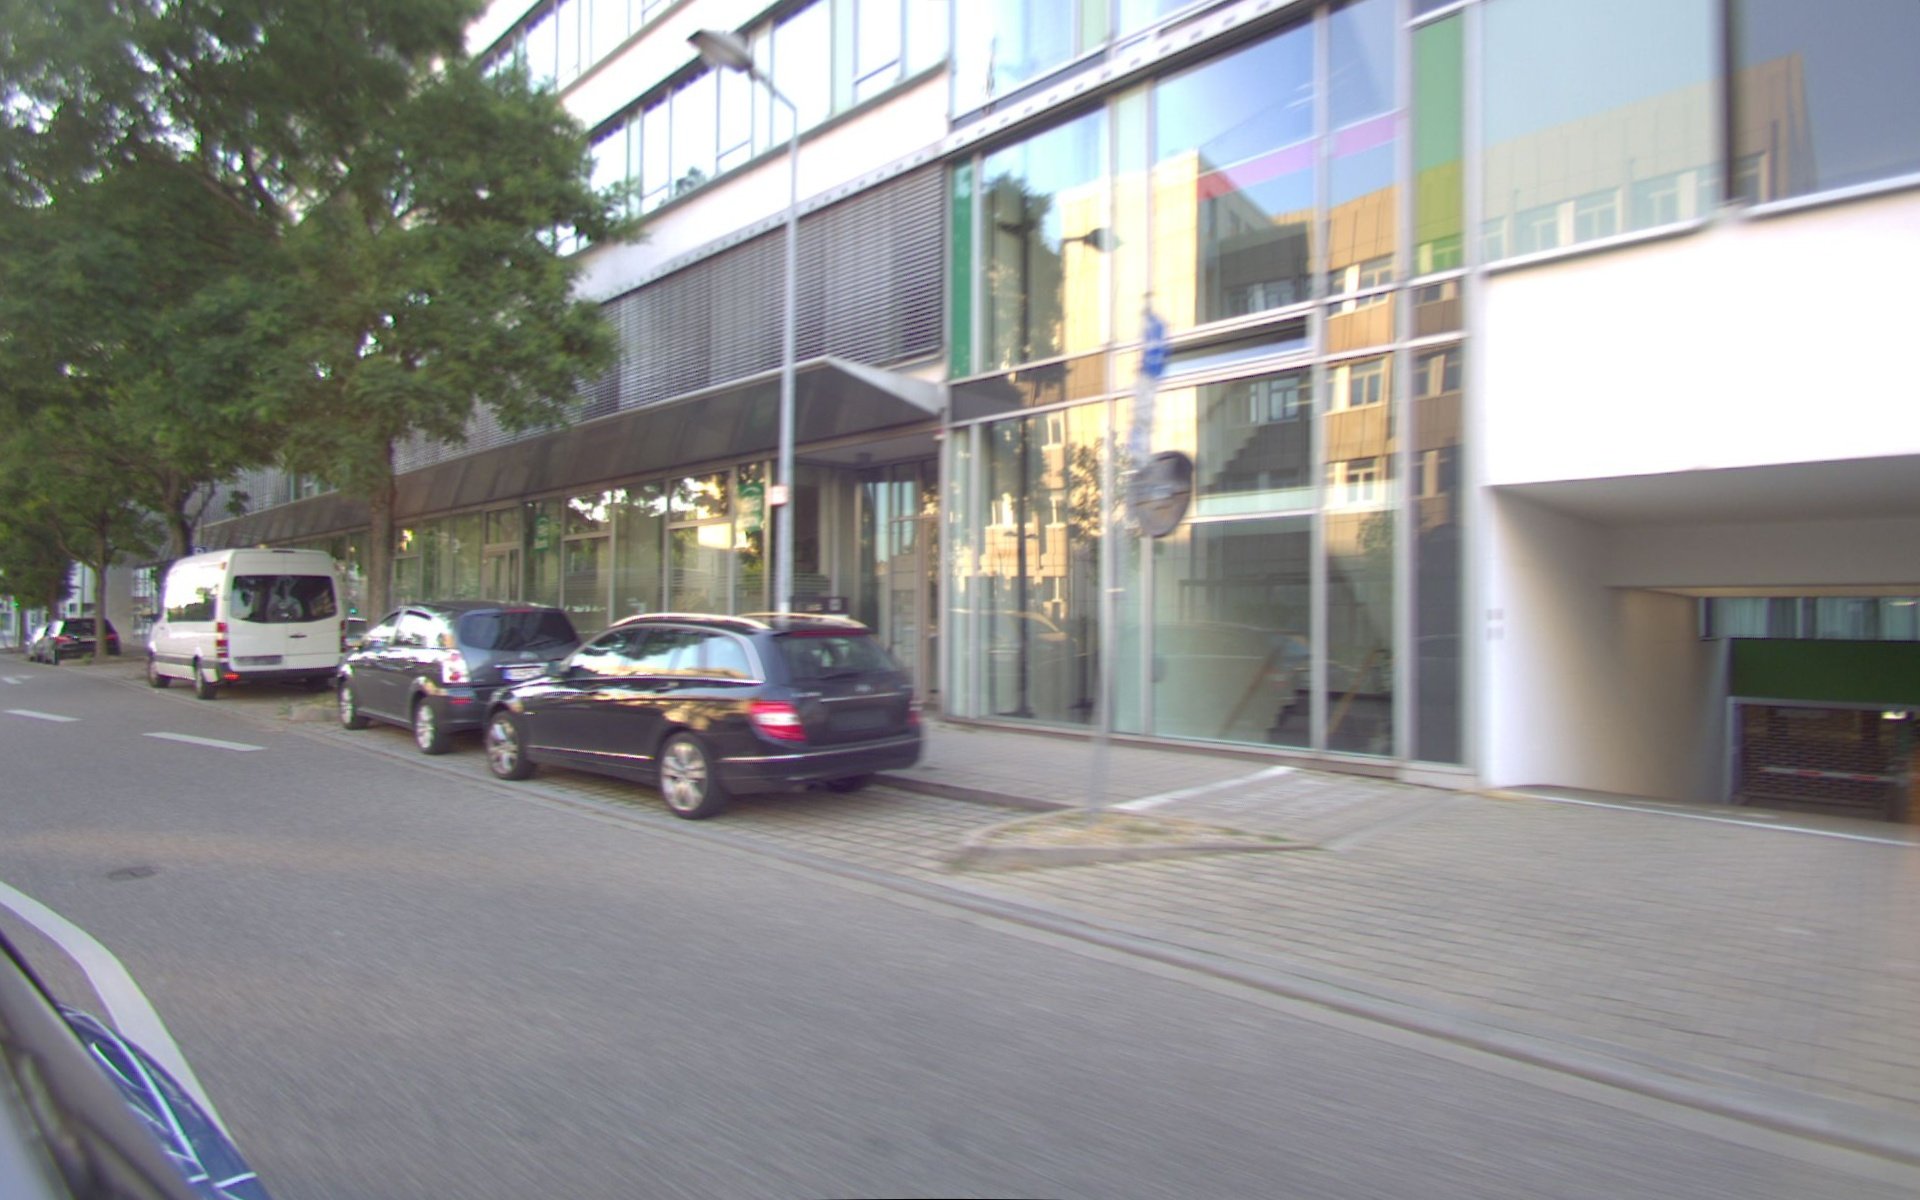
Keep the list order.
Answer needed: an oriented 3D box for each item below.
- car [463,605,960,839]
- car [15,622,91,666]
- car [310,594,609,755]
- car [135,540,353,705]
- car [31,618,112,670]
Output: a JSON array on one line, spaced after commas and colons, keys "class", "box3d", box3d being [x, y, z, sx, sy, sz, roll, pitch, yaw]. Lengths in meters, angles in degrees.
[{"class": "car", "box3d": [-2.238, 0.820, 8.404, 4.394, 1.463, 1.698, -2, -2, 39]}, {"class": "car", "box3d": [-34.286, 1.631, 38.217, 4.626, 1.472, 1.685, -2, 1, 43]}, {"class": "car", "box3d": [-6.084, 0.788, 12.079, 4.267, 1.583, 1.824, -2, -2, 43]}, {"class": "car", "box3d": [-14.039, 0.453, 19.611, 6.951, 2.684, 2.077, -2, -2, 43]}, {"class": "car", "box3d": [-30.423, 1.475, 34.602, 4.471, 1.580, 1.573, -2, 1, 43]}]
